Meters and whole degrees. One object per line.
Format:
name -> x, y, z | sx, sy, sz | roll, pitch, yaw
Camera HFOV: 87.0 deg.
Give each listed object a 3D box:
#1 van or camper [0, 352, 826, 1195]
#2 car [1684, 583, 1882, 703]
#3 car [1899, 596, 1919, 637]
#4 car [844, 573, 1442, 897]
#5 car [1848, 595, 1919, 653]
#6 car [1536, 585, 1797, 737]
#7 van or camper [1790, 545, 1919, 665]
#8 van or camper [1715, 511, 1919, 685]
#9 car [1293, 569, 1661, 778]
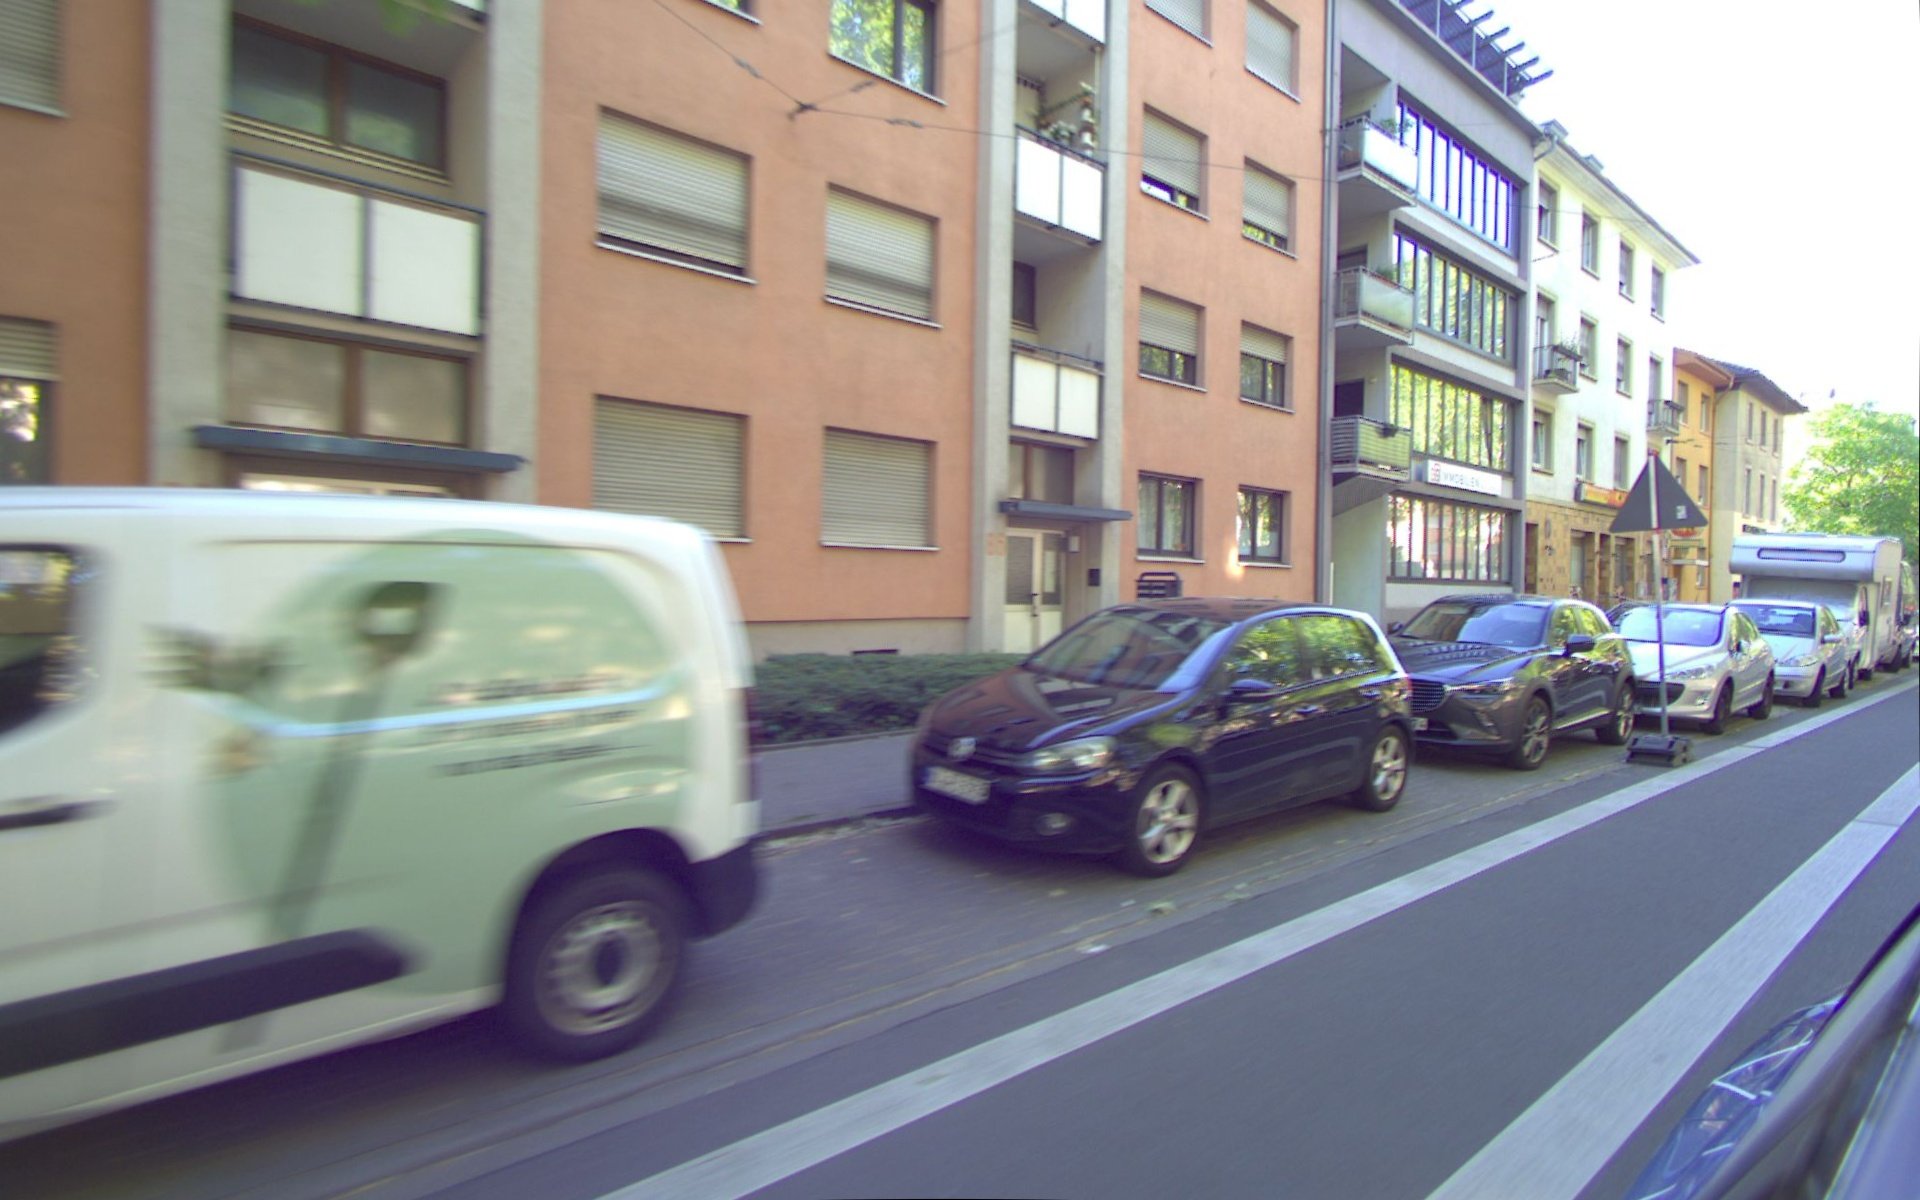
van or camper -> -2.861, 0.364, 2.795 | 4.746, 1.887, 1.758 | 0, 2, -41
car -> 13.599, 0.613, 16.635 | 4.202, 1.648, 1.796 | 0, 3, -41
car -> 35.193, 0.618, 36.100 | 4.657, 1.397, 1.998 | 0, 3, -41
car -> 1.415, 0.615, 6.713 | 4.095, 1.491, 1.709 | 0, 2, -41
car -> 27.778, 0.675, 29.621 | 4.656, 1.512, 1.998 | 0, 3, -41
car -> 9.157, 0.646, 12.974 | 4.248, 1.540, 1.791 | 0, 3, -42
van or camper -> 22.697, 0.072, 25.304 | 4.893, 2.695, 2.137 | 0, 3, -41
van or camper -> 17.955, -0.111, 20.969 | 6.161, 3.101, 2.466 | 0, 3, -42
car -> 5.288, 0.567, 10.092 | 4.261, 1.591, 1.771 | 0, 3, -41
